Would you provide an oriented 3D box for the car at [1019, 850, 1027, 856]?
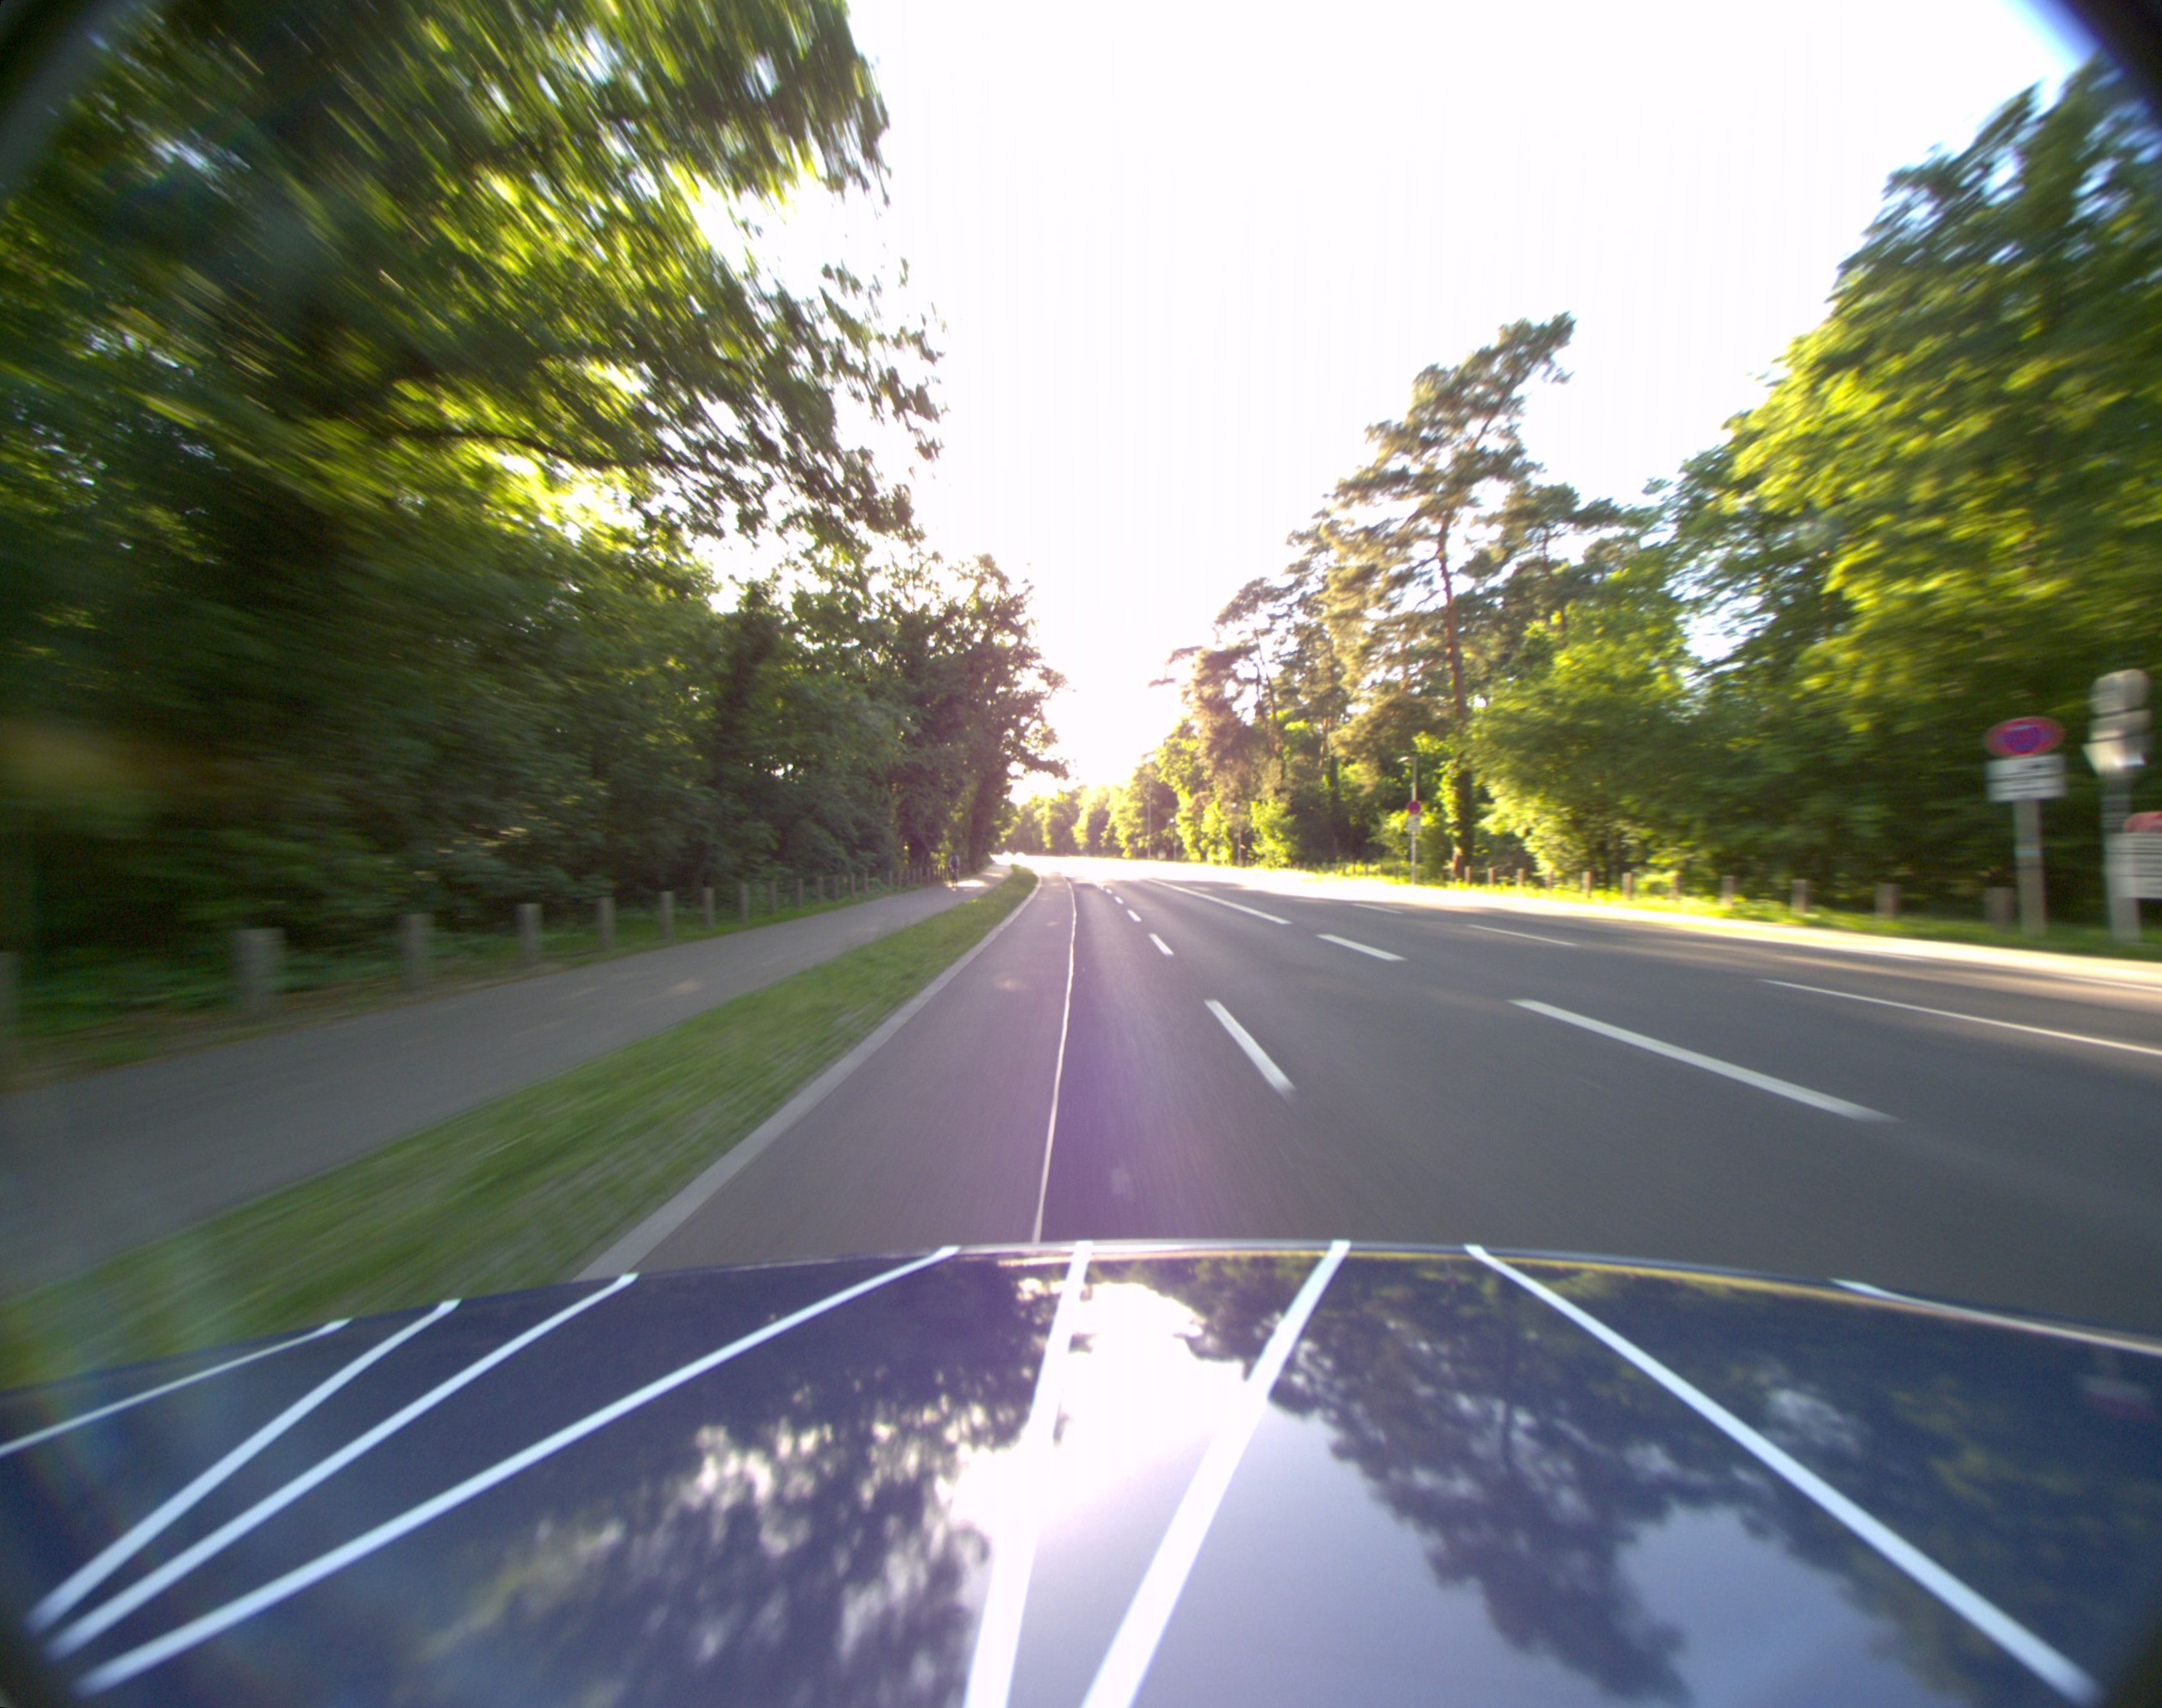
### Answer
[{"bbox_3d":[-16.032,-0.303,210.529,1.828,1.674,3.996,-1,1,-11],"label":"car"}]

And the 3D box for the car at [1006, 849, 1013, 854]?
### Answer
[{"bbox_3d":[-22.658,-0.751,240.878,1.828,1.674,3.996,-1,1,-11],"label":"car"}]

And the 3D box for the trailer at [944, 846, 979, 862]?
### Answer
[{"bbox_3d":[-15.575,0.007,98.967,4.215,2.010,2.004,0,1,35],"label":"trailer"}]

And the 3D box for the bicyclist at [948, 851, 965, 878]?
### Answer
[{"bbox_3d":[-6.075,0.509,37.187,0.714,1.281,1.104,-1,1,-5],"label":"bicyclist"}]

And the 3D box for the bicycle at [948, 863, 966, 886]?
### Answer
[{"bbox_3d":[-6.063,0.976,37.204,0.714,1.049,2.052,-1,0,-5],"label":"bicycle"}]
